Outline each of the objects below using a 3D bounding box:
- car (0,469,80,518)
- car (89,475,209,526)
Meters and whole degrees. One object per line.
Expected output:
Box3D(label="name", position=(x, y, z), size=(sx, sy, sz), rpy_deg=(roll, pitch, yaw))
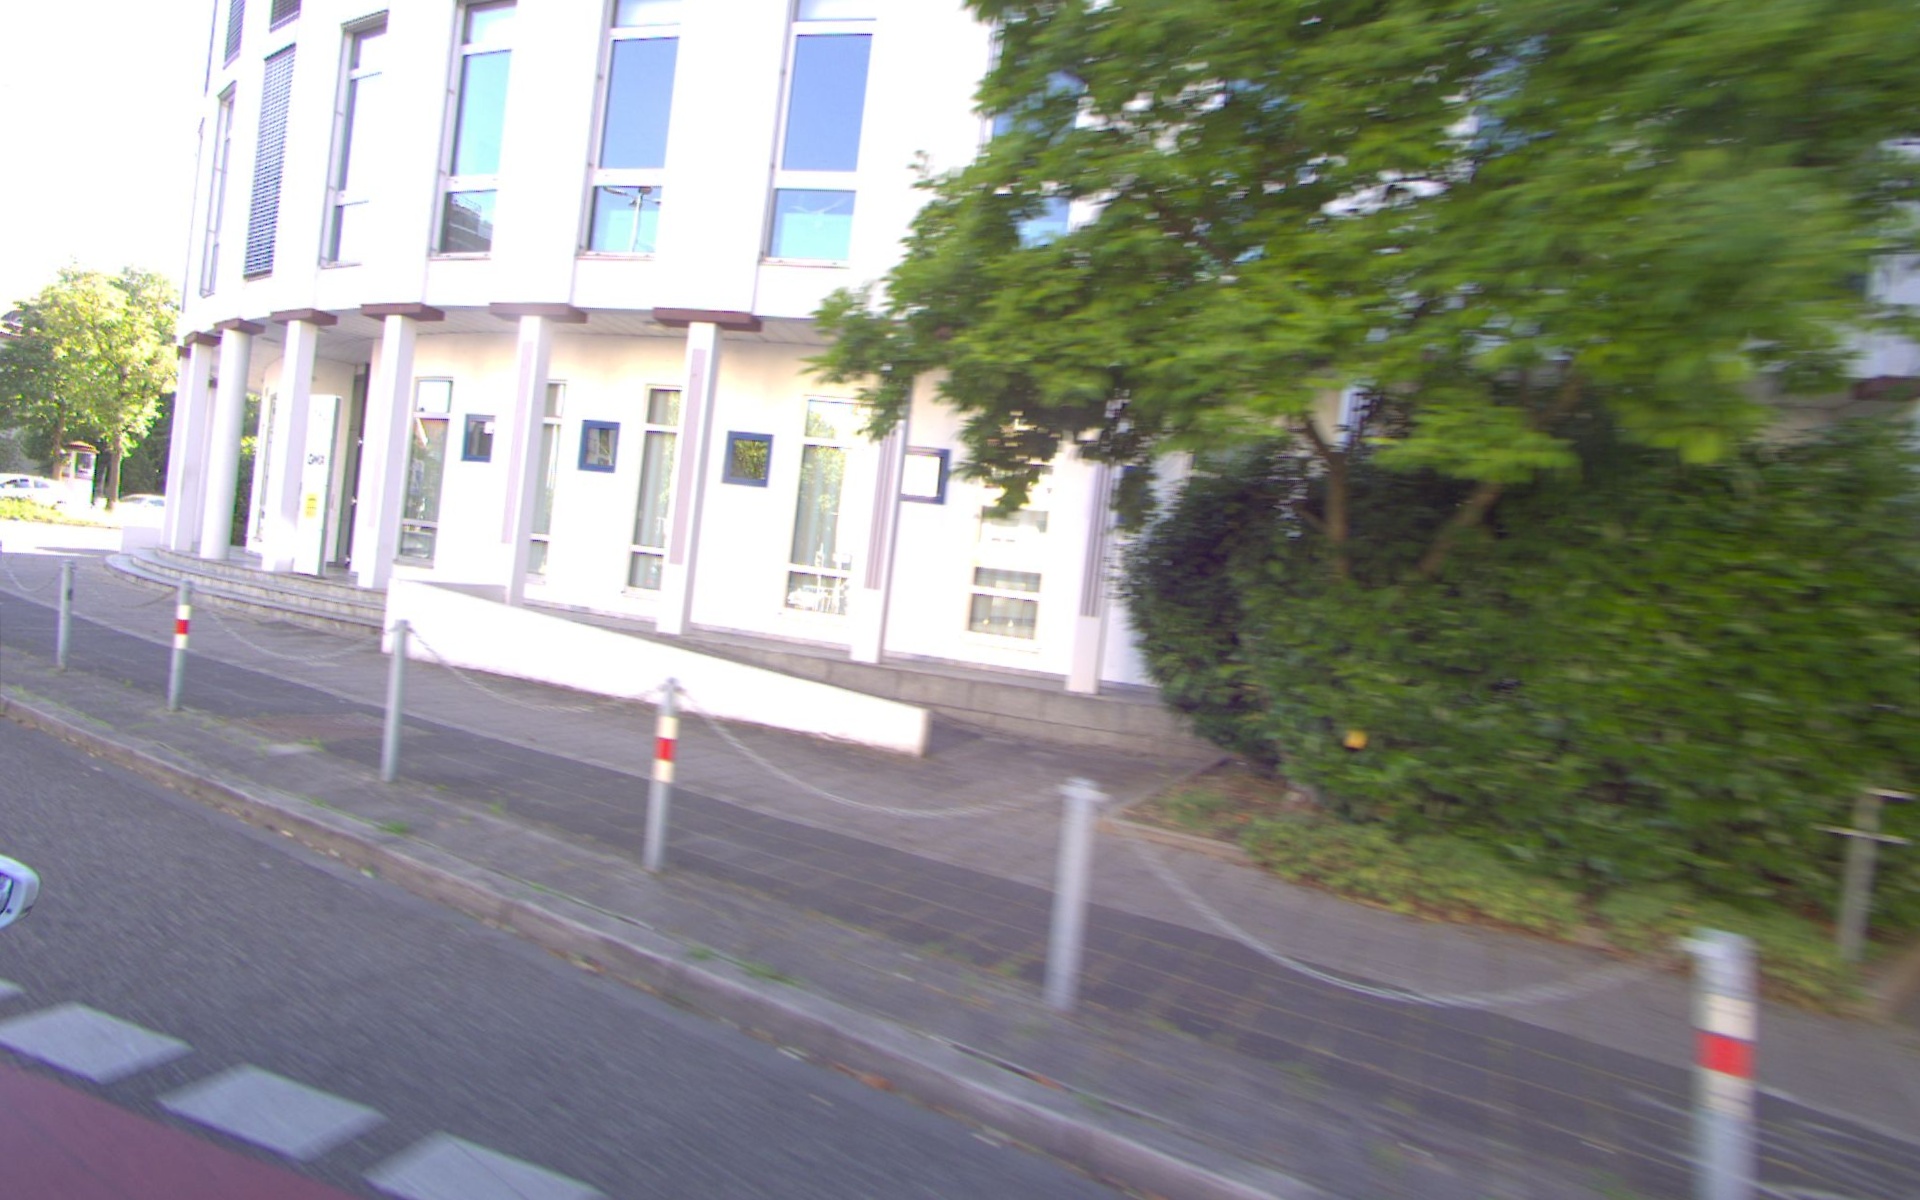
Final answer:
Box3D(label="car", position=(-36.153, -4.162, 37.941), size=(1.787, 1.527, 4.189), rpy_deg=(7, 0, 9))
Box3D(label="car", position=(-37.800, -4.602, 47.008), size=(1.886, 1.664, 4.001), rpy_deg=(7, 0, 11))
